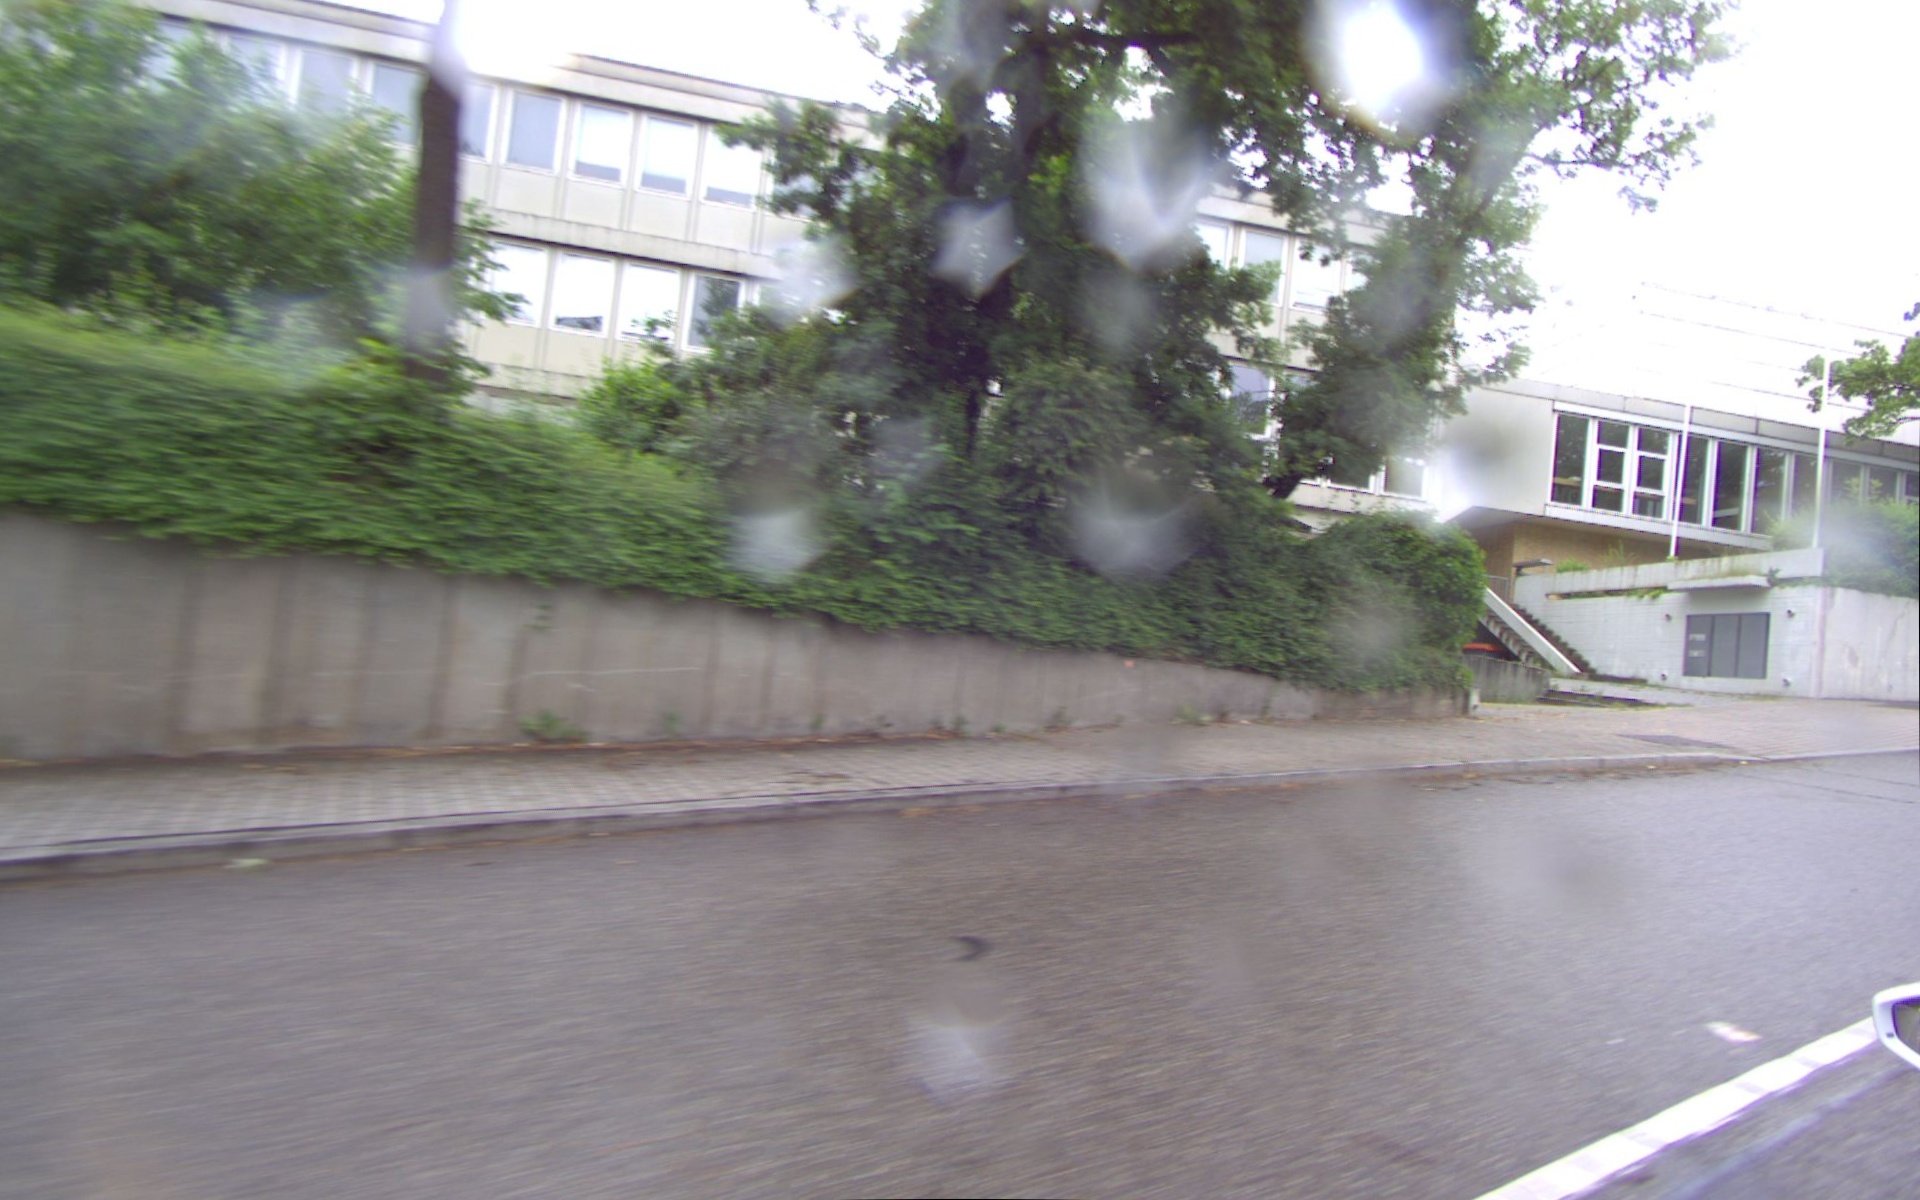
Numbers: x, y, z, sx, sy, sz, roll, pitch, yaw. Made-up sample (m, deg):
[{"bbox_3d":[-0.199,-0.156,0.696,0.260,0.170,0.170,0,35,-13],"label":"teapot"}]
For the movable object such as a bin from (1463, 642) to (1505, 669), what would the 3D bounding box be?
[{"bbox_3d":[15.874,1.678,30.441,0.593,0.803,1.034,1,-3,-11],"label":"movable object such as a bin"}]
